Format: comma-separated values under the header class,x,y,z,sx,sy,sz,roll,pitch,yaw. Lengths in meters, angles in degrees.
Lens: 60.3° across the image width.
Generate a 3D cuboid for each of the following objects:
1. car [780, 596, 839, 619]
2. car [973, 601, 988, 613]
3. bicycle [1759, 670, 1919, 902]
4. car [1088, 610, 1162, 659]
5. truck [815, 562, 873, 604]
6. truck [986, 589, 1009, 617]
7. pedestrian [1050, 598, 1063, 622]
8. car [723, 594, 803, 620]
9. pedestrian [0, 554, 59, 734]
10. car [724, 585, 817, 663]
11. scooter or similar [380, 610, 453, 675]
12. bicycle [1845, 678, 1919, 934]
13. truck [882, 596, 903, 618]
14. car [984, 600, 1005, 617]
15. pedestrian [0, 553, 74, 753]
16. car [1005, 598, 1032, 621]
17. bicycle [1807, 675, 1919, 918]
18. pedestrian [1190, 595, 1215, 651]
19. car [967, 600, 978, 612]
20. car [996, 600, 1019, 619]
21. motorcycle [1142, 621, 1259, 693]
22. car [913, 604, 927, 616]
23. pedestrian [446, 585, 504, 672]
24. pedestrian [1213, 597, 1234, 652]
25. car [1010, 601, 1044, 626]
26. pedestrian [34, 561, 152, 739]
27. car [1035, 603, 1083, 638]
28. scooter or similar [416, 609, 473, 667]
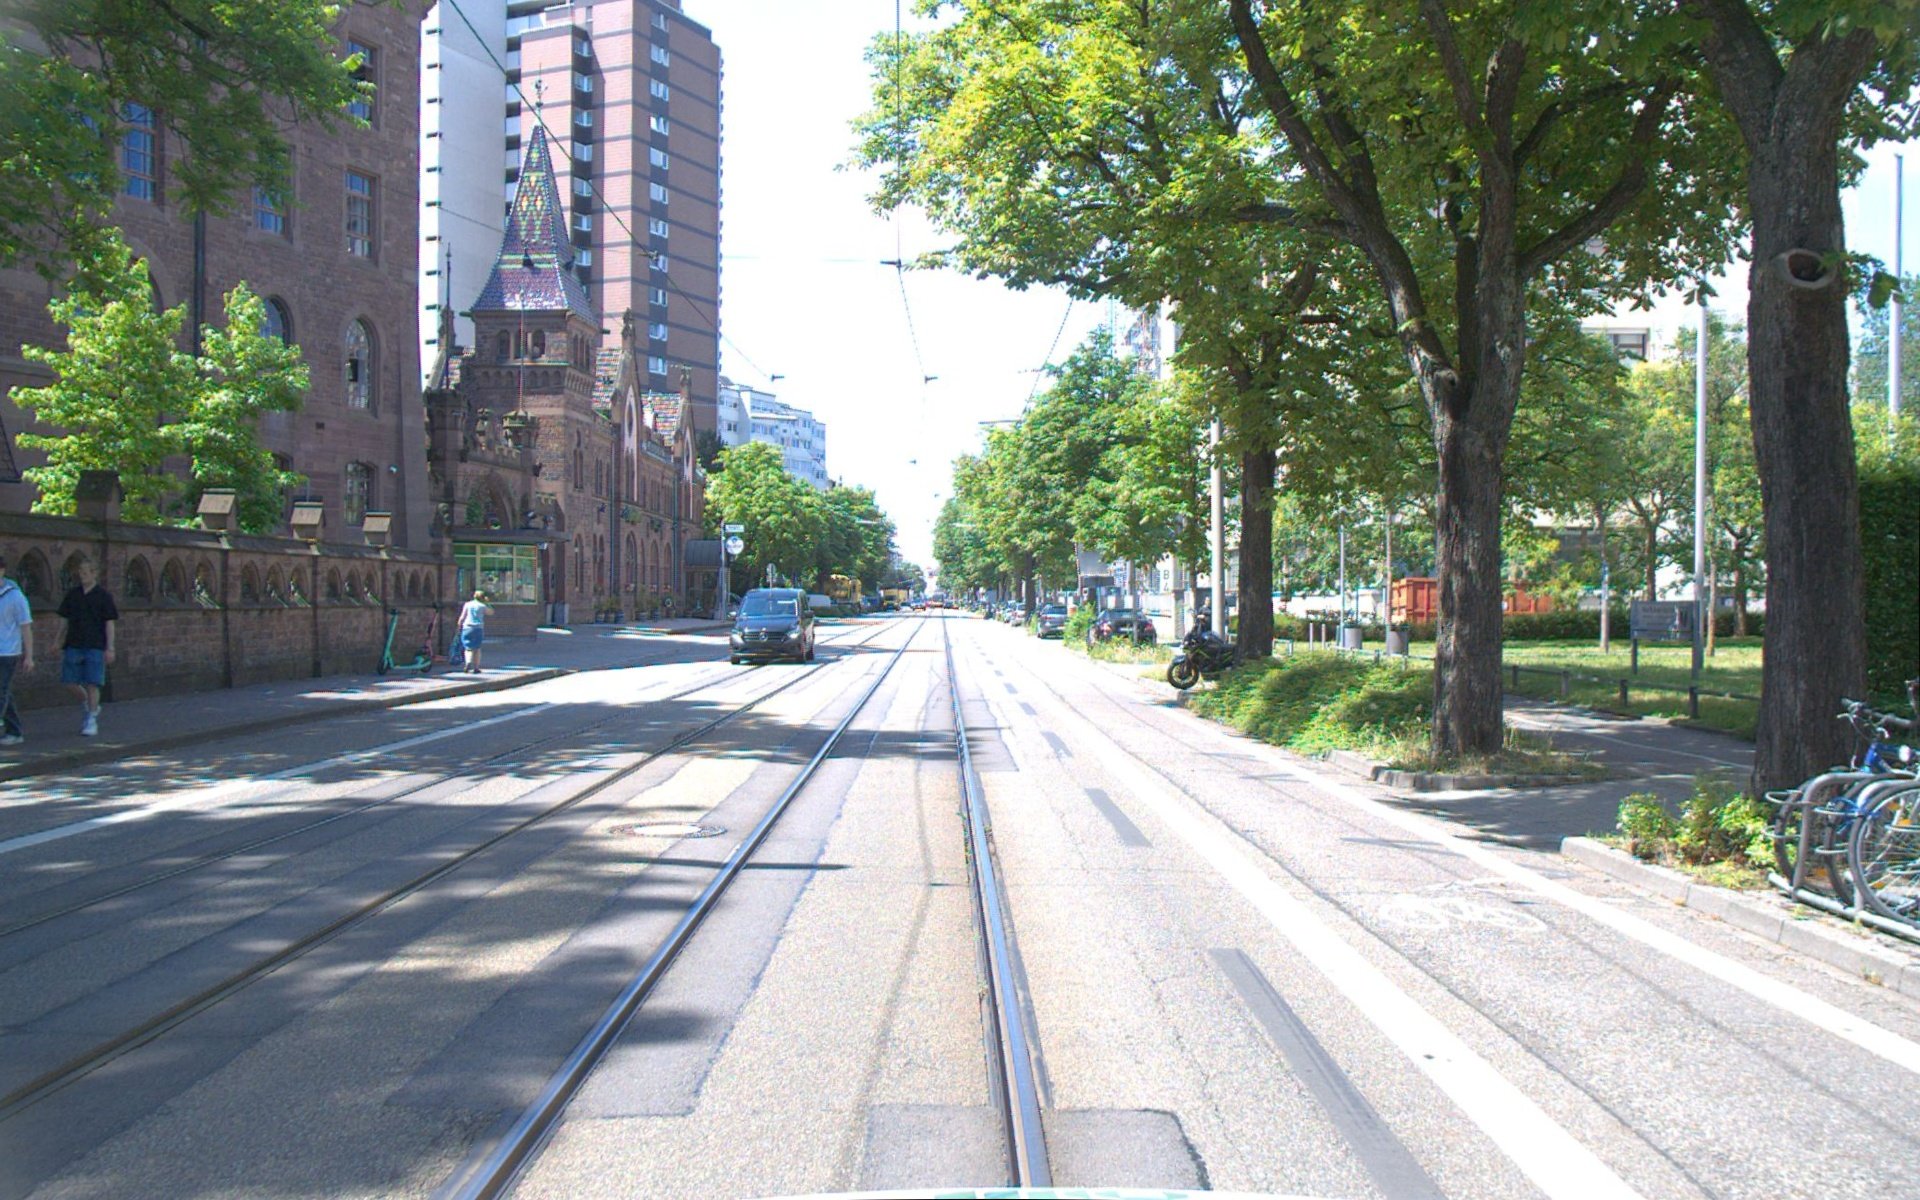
class,x,y,z,sx,sy,sz,roll,pitch,yaw
car,-12.598,0.626,138.570,4.491,1.822,1.879,2,0,-33
car,2.534,0.888,208.224,1.606,1.511,3.870,-1,-1,-4
bicycle,5.121,0.937,8.572,1.772,1.130,0.449,-1,0,-4
car,4.757,0.982,48.149,1.715,1.293,3.833,1,0,0
truck,-11.652,-1.618,167.699,2.657,3.909,10.972,1,-1,13
truck,3.494,0.276,154.941,1.973,2.532,5.954,0,0,-1
pedestrian,6.581,0.688,112.830,0.783,1.616,0.919,-1,0,-2
car,-12.595,0.451,105.721,4.712,1.594,1.982,1,0,-29
pedestrian,-10.033,0.431,17.190,0.737,1.807,0.919,3,0,-1
car,-4.629,0.568,40.900,1.866,1.819,4.255,0,0,-1
scooter or similar,-9.931,0.779,30.238,0.343,1.146,1.217,1,-1,42
bicycle,5.116,0.933,7.741,1.772,1.130,0.395,-1,0,-4
truck,-9.079,0.889,224.021,2.312,2.902,7.379,-1,0,1
car,3.042,0.728,144.192,1.786,1.497,4.401,0,0,2
pedestrian,-9.015,0.474,15.666,0.663,1.821,0.919,3,0,-1
car,4.014,0.663,113.698,1.637,1.544,4.200,0,0,-1
bicycle,5.138,0.938,8.141,1.772,1.130,0.395,-1,0,-4
pedestrian,7.150,0.674,48.723,0.606,1.601,0.610,-1,0,-1
car,1.928,0.920,249.472,1.560,1.645,3.907,-1,-1,-1
car,3.789,0.723,133.515,1.787,1.497,4.486,0,0,1
motorcycle,4.208,0.985,29.064,2.023,1.234,0.610,-1,-2,39
car,-5.632,1.380,232.214,1.793,1.710,4.184,0,0,0
pedestrian,-9.381,0.535,32.000,0.783,1.616,0.919,3,0,-1
pedestrian,7.758,0.723,48.656,0.502,1.601,0.544,-1,0,-1
car,4.034,0.803,100.625,1.638,1.525,4.362,0,0,-4
pedestrian,-9.051,0.513,17.307,0.663,1.779,0.919,3,0,-1
car,4.186,0.833,70.354,1.637,1.433,4.747,0,0,-1
scooter or similar,-10.488,0.767,33.685,0.322,1.146,1.221,1,0,27
